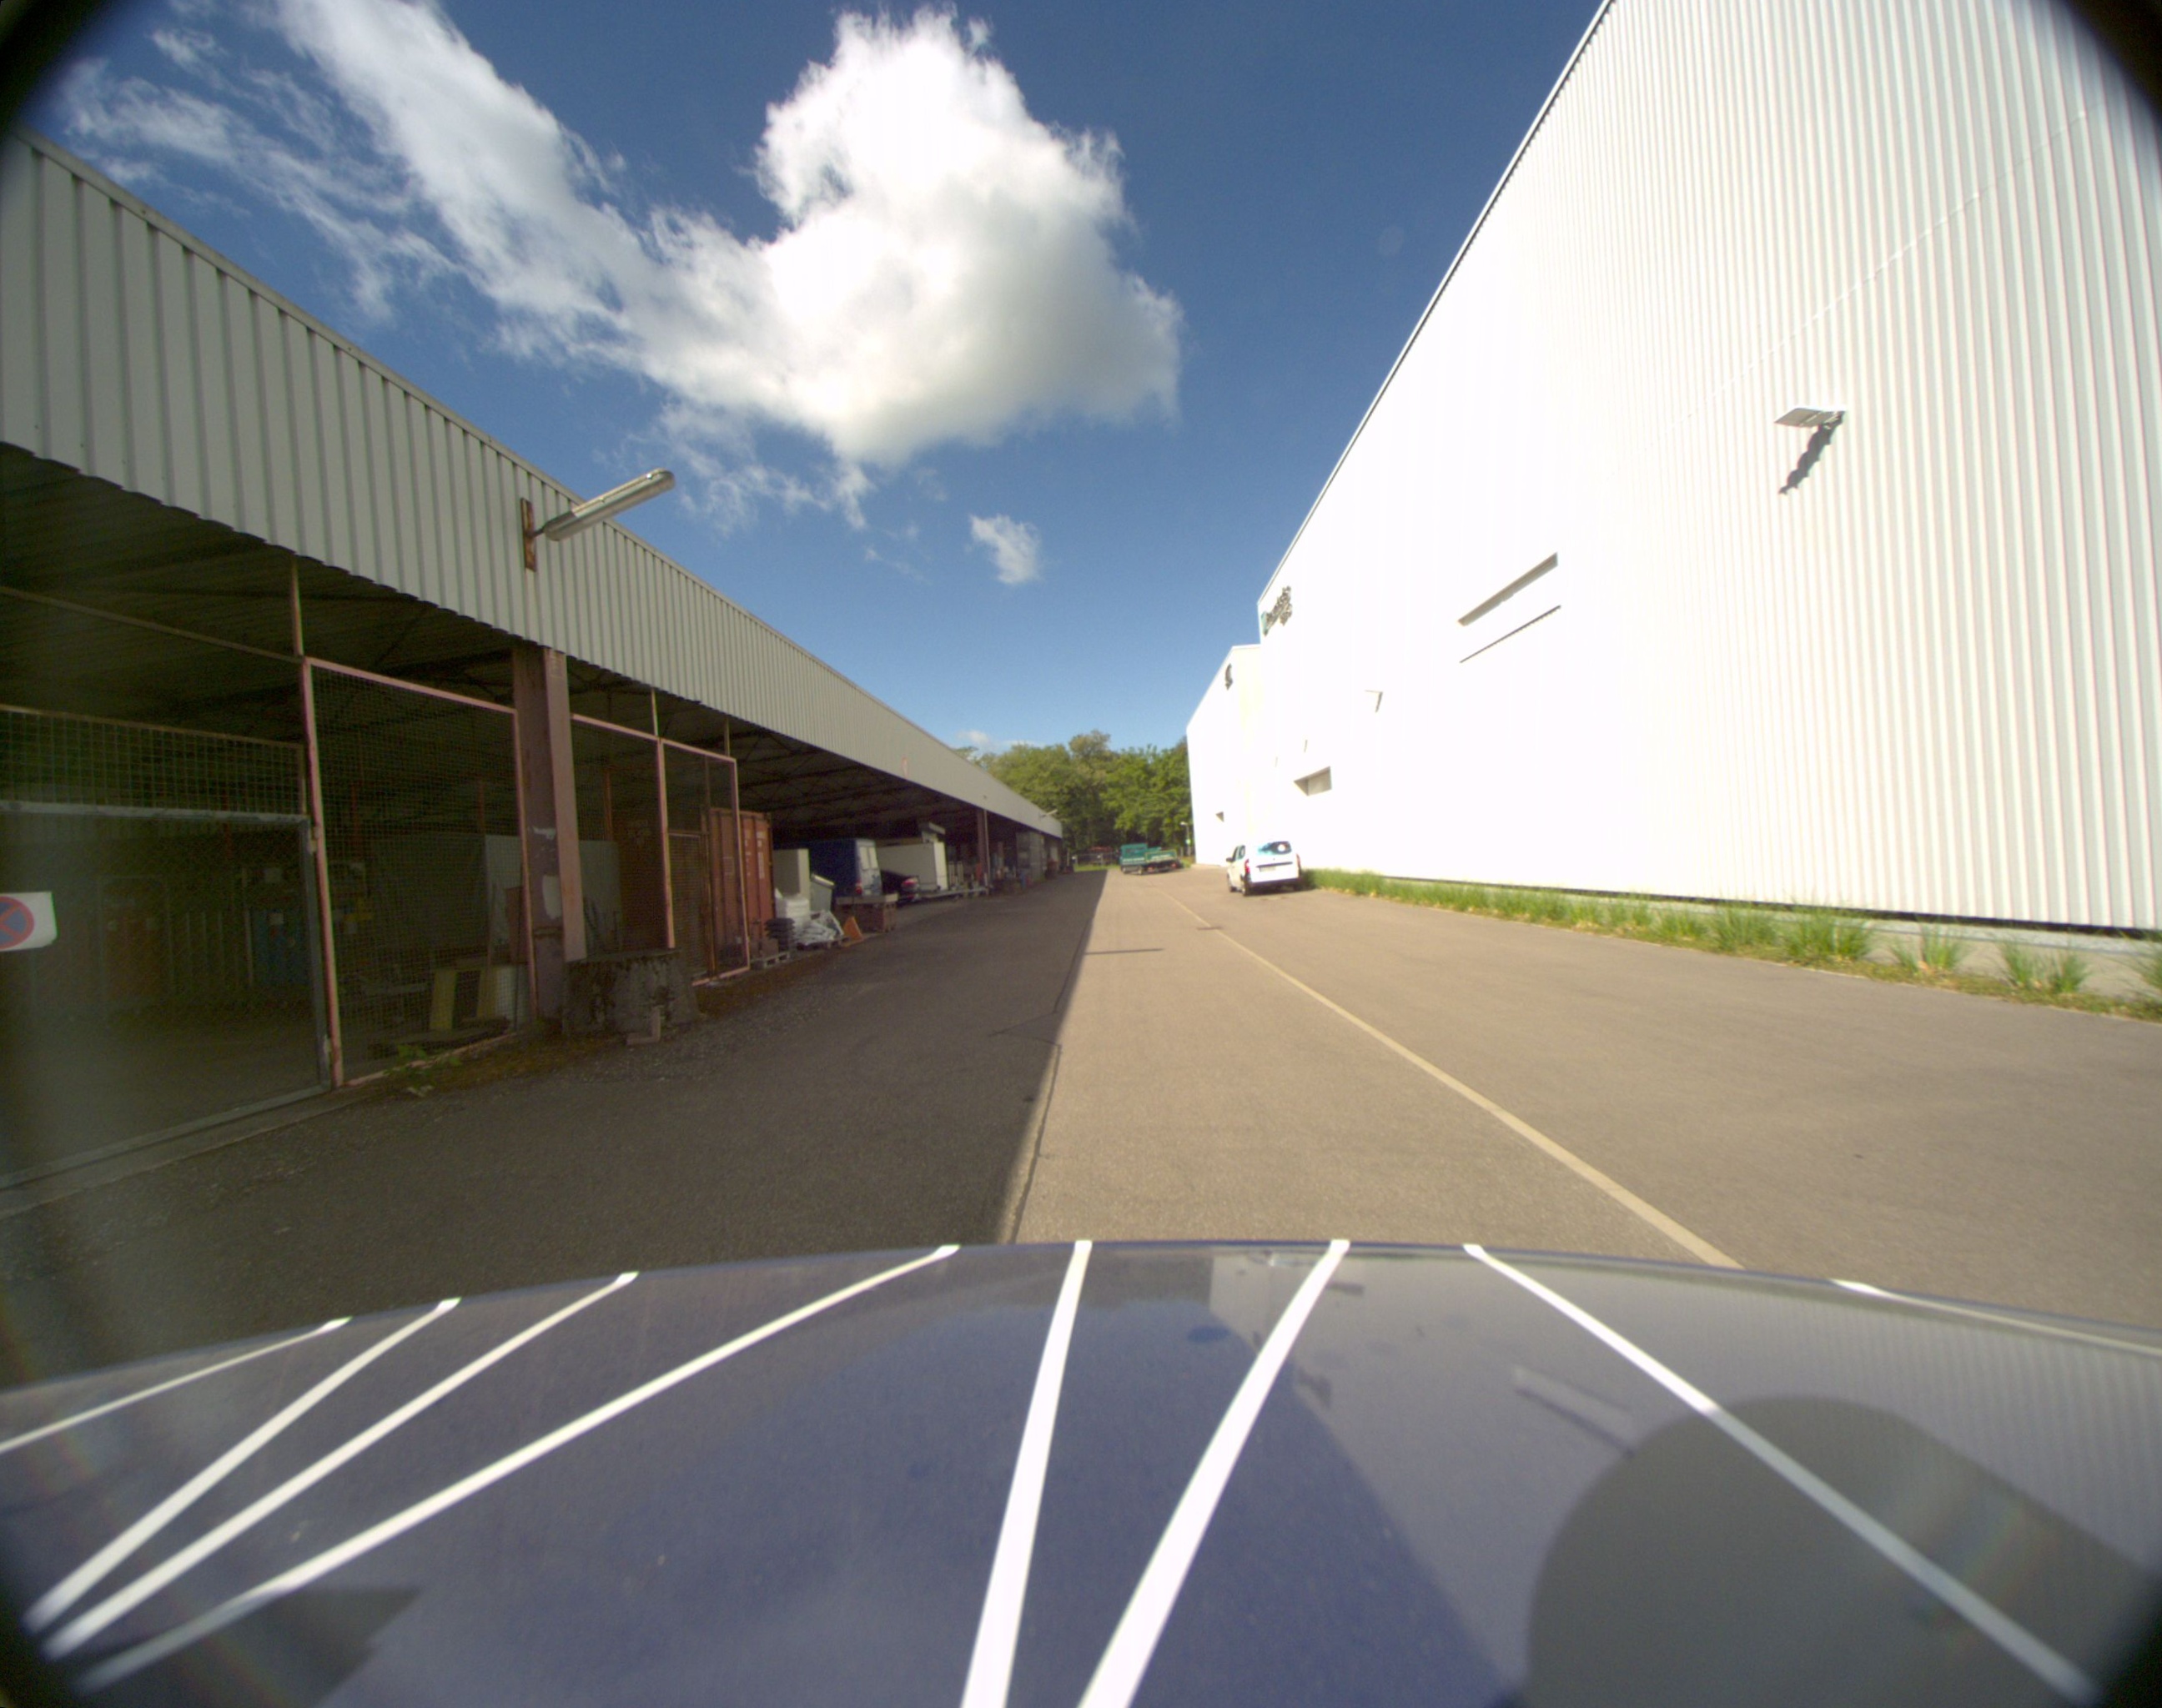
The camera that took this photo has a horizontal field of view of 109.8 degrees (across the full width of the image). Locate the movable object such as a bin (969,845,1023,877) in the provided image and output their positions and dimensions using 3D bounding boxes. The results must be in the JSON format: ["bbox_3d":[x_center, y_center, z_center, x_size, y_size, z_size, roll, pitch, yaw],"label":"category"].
[{"bbox_3d":[-7.723,0.671,69.496,4.626,2.706,2.000,-2,-1,1],"label":"movable object such as a bin"}]

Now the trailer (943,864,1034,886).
[{"bbox_3d":[-6.153,1.384,51.096,5.748,1.126,2.009,-3,0,1],"label":"trailer"}]

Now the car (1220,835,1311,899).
[{"bbox_3d":[5.999,0.398,25.313,1.933,1.779,4.598,-5,0,2],"label":"car"}]

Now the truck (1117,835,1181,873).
[{"bbox_3d":[5.425,0.091,63.126,2.589,2.701,9.688,-6,0,-10],"label":"truck"}]

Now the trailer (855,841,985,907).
[{"bbox_3d":[-6.182,0.770,29.452,4.552,2.321,1.689,-2,0,3],"label":"trailer"}]

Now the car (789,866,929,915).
[{"bbox_3d":[-7.766,1.264,26.918,4.355,1.425,1.864,-2,1,-1],"label":"car"}]

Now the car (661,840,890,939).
[{"bbox_3d":[-8.160,0.919,20.666,5.229,2.284,2.084,-3,1,1],"label":"car"}]

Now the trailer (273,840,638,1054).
[{"bbox_3d":[-7.427,0.939,9.539,1.581,2.131,3.521,-2,1,0],"label":"trailer"}]

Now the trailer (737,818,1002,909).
[{"bbox_3d":[-8.744,0.379,32.069,10.316,3.276,2.676,-2,0,3],"label":"trailer"}]

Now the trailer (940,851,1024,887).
[{"bbox_3d":[-6.156,0.933,47.755,4.828,1.985,2.047,-2,1,5],"label":"trailer"}]

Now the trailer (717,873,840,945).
[{"bbox_3d":[-7.121,1.269,18.026,2.098,1.454,1.642,-3,1,5],"label":"trailer"}]

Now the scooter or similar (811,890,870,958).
[{"bbox_3d":[-4.633,1.321,14.754,0.521,1.128,1.592,-3,1,2],"label":"scooter or similar"}]
